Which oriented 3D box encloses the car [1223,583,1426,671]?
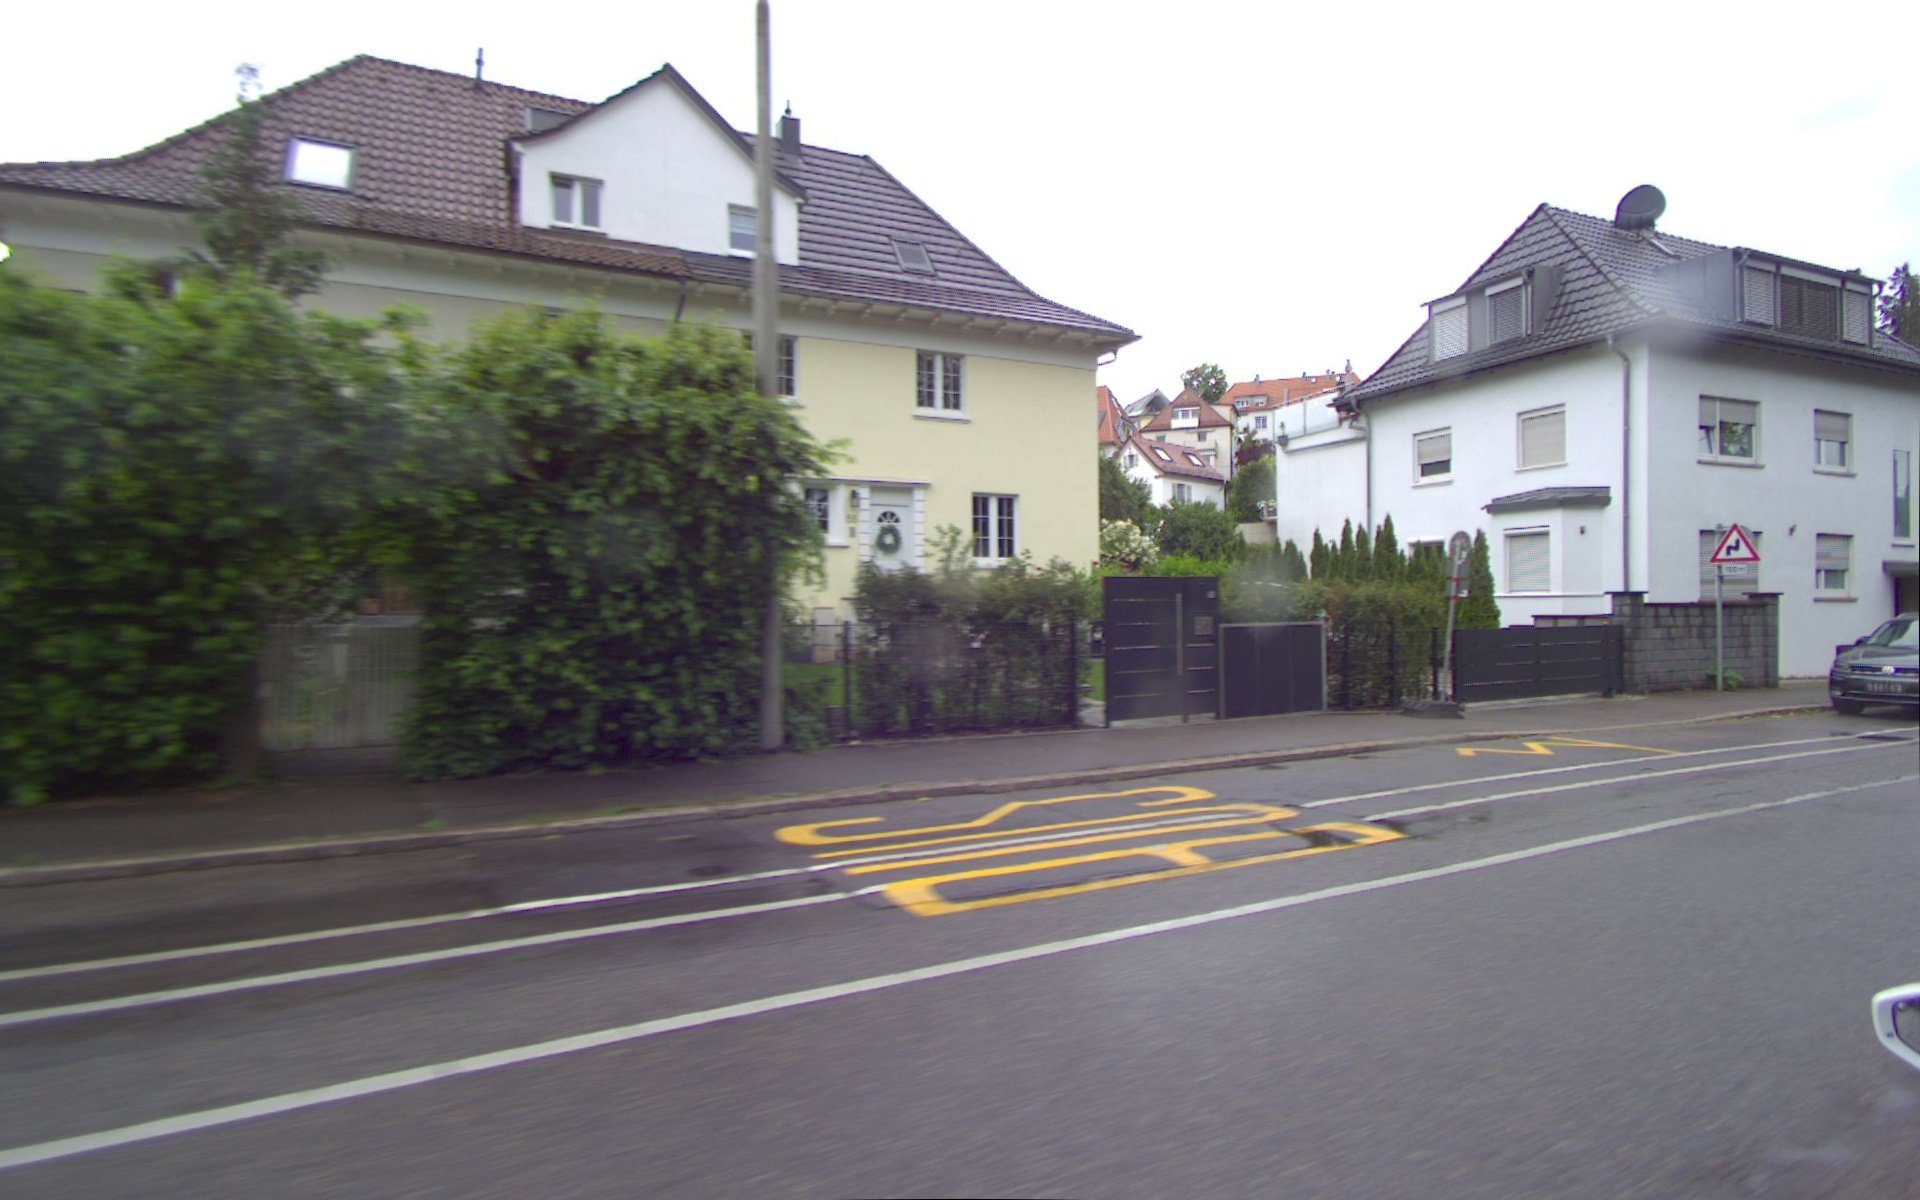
[{"bbox_3d":[7.744,0.523,21.726,1.713,1.617,3.970,2,1,-28],"label":"car"}]

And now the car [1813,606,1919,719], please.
[{"bbox_3d":[16.044,0.964,16.448,4.351,1.680,1.747,0,-2,-29],"label":"car"}]
